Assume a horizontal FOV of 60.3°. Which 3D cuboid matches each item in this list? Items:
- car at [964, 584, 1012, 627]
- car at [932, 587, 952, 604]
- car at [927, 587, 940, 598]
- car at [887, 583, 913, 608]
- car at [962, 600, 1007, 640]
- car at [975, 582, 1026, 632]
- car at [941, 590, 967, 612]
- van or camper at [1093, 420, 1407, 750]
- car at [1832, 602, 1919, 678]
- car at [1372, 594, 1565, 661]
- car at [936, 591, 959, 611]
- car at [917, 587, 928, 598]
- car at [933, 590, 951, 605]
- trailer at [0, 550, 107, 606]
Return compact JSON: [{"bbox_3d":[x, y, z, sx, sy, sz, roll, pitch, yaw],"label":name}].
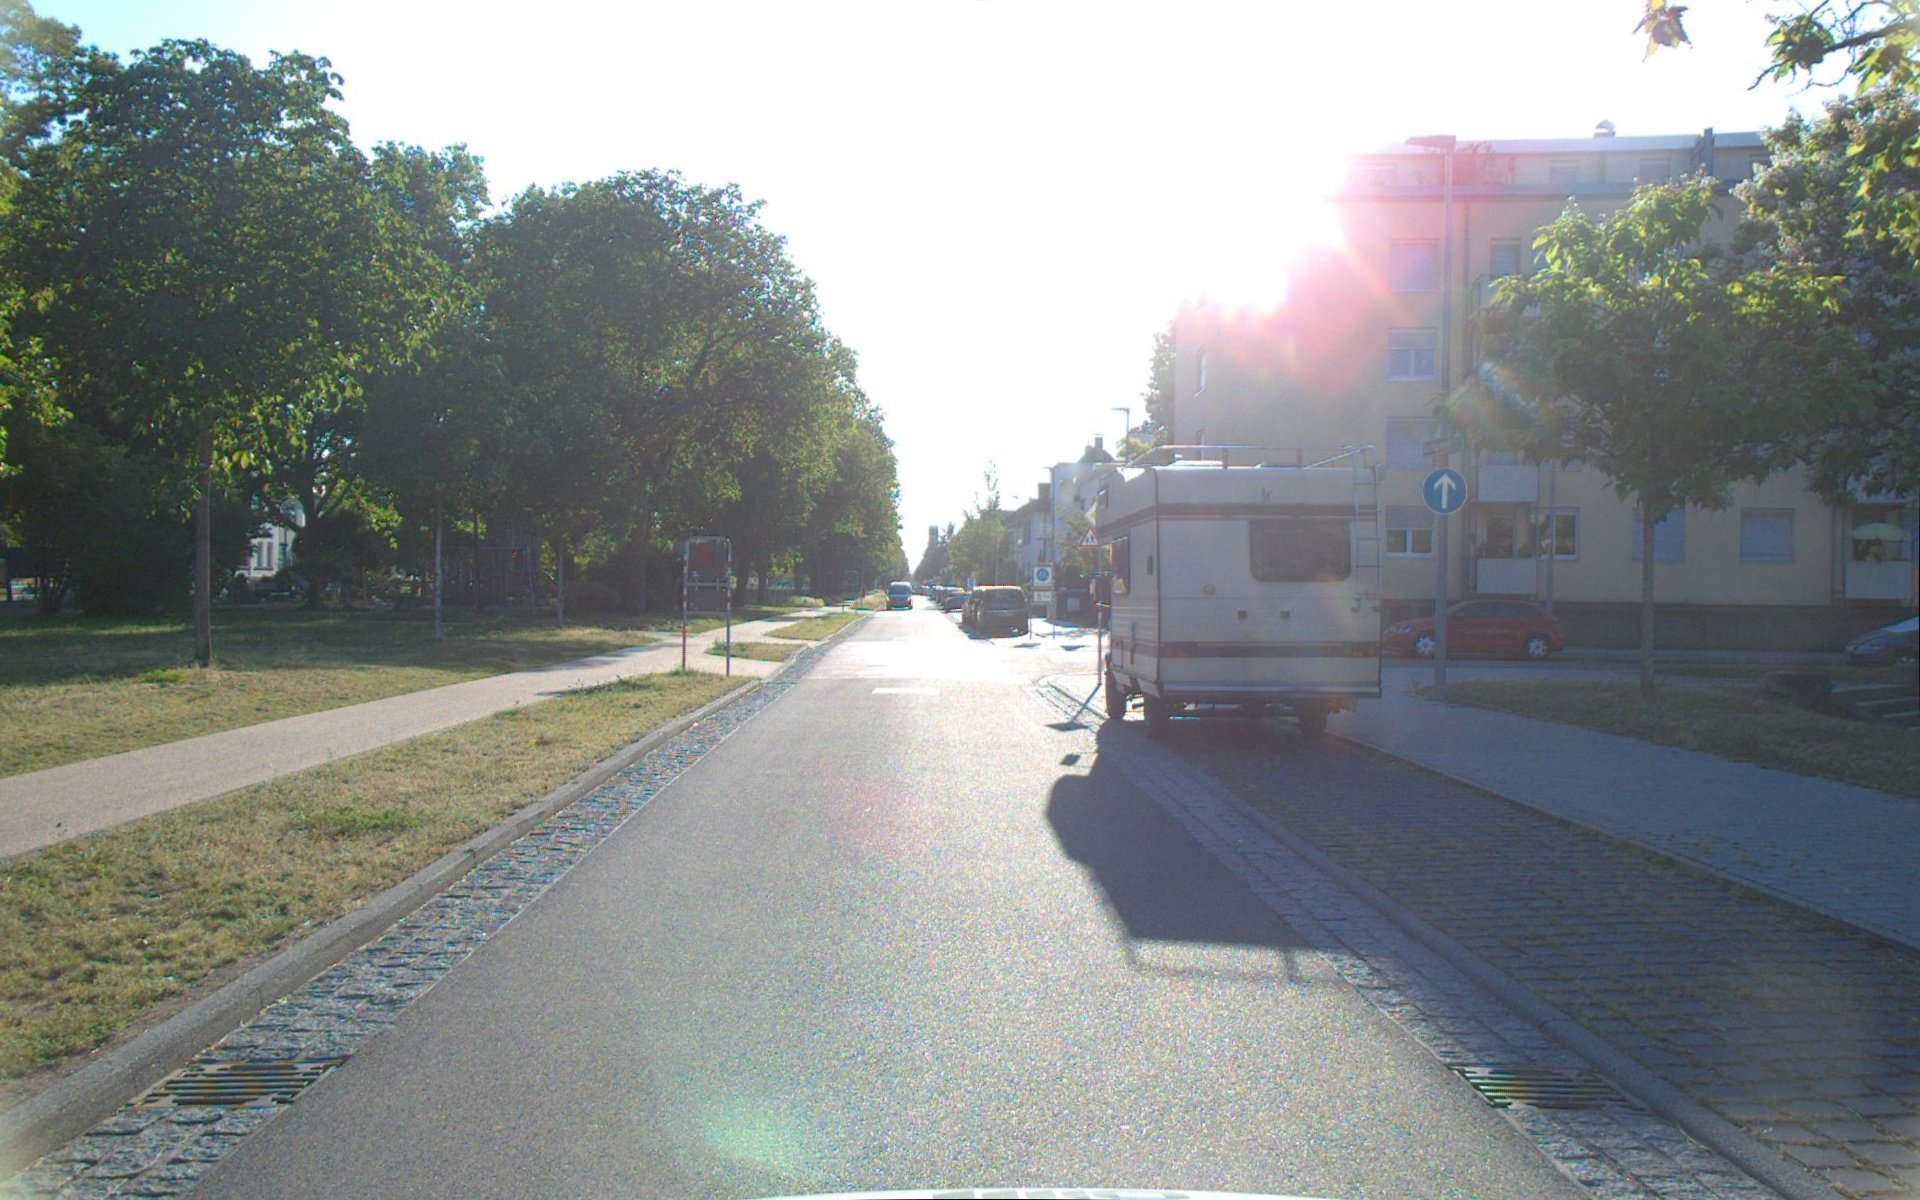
[{"bbox_3d":[1.183,0.206,69.744,1.952,1.747,4.000,0,0,1],"label":"car"},{"bbox_3d":[-1.588,-0.420,144.297,1.593,1.434,4.247,0,0,-2],"label":"car"},{"bbox_3d":[-3.370,-0.921,212.806,1.593,1.434,4.247,0,0,-2],"label":"car"},{"bbox_3d":[-4.219,-0.334,115.749,1.789,1.698,4.247,0,0,-2],"label":"car"},{"bbox_3d":[1.124,0.877,75.304,1.952,1.747,4.000,0,0,1],"label":"car"},{"bbox_3d":[1.416,0.247,59.177,1.593,1.698,4.247,0,0,-2],"label":"car"},{"bbox_3d":[-0.419,0.081,112.804,1.593,1.434,4.247,0,0,-2],"label":"car"},{"bbox_3d":[2.834,-0.091,17.678,2.189,2.955,5.670,0,-1,-2],"label":"van or camper"},{"bbox_3d":[19.821,0.787,32.875,4.105,1.488,1.694,0,0,14],"label":"car"},{"bbox_3d":[12.262,0.638,40.093,4.107,1.557,2.001,0,0,2],"label":"car"},{"bbox_3d":[-0.930,0.069,123.804,1.593,1.434,4.247,0,0,-2],"label":"car"},{"bbox_3d":[-5.644,-1.093,248.179,1.593,1.698,4.247,0,0,-2],"label":"car"},{"bbox_3d":[-1.777,-0.240,160.116,1.593,1.434,4.247,0,0,-2],"label":"car"},{"bbox_3d":[-43.159,-0.983,77.876,2.409,2.532,7.048,0,0,-1],"label":"trailer"}]
